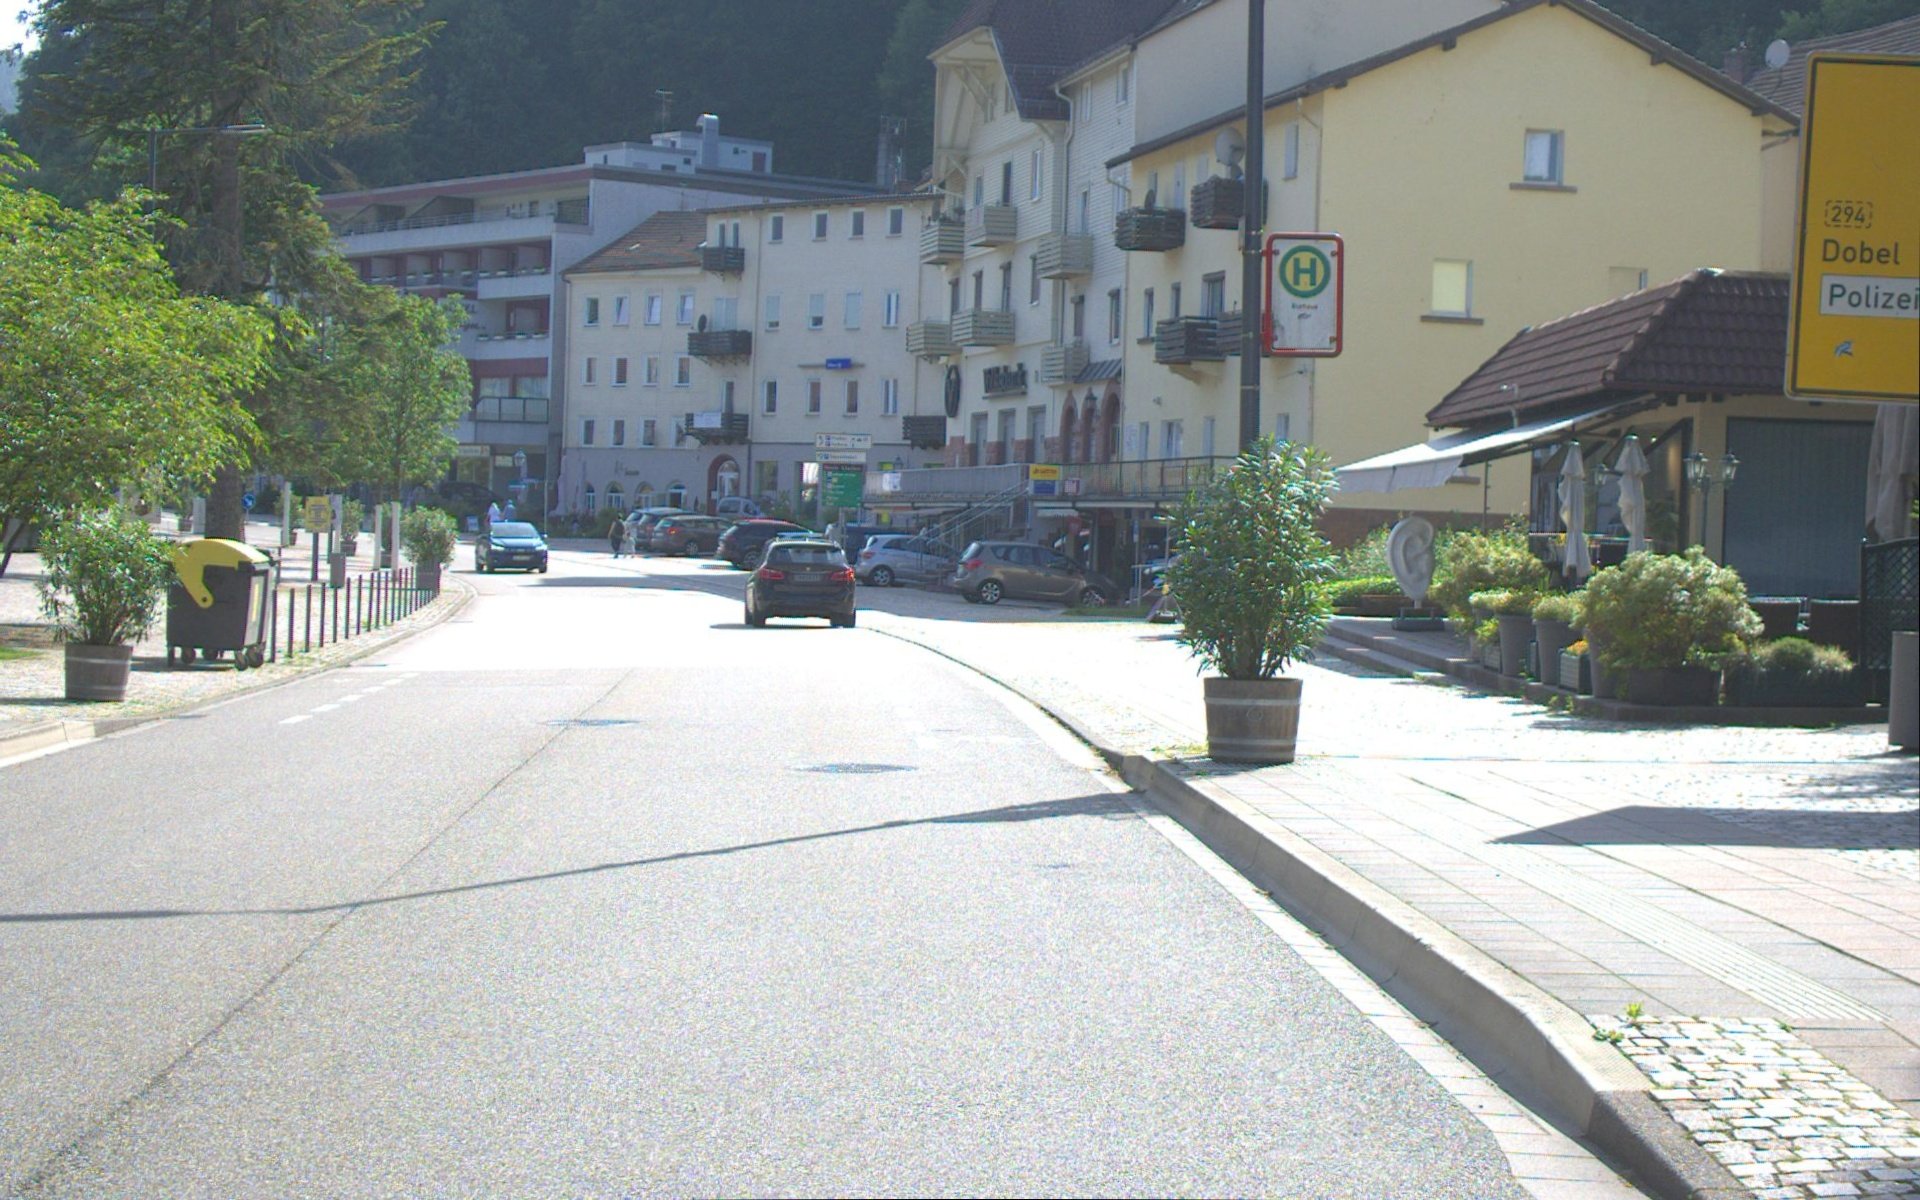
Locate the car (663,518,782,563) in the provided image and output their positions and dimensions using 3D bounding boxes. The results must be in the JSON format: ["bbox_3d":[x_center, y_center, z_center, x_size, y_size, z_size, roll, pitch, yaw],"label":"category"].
[{"bbox_3d":[-8.778,-2.219,127.053,4.009,1.511,1.773,-2,4,-31],"label":"car"}]

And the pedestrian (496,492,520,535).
[{"bbox_3d":[-18.745,-3.589,142.626,0.669,1.722,0.707,2,2,-33],"label":"pedestrian"}]

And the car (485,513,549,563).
[{"bbox_3d":[-13.121,-1.843,102.042,1.741,1.457,4.188,0,1,-5],"label":"car"}]

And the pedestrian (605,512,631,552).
[{"bbox_3d":[-12.400,-2.456,124.673,0.735,1.437,0.633,-1,3,-36],"label":"pedestrian"}]

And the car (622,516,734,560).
[{"bbox_3d":[-10.759,-2.378,131.114,3.861,1.544,1.773,-2,4,-31],"label":"car"}]

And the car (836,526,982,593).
[{"bbox_3d":[-1.496,-1.190,100.081,3.908,1.583,1.775,4,1,-11],"label":"car"}]

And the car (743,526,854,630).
[{"bbox_3d":[-2.880,-0.420,60.697,1.727,1.569,3.754,3,3,-5],"label":"car"}]

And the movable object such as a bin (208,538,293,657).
[{"bbox_3d":[-8.444,-0.041,40.947,0.755,1.337,1.295,4,1,-4],"label":"movable object such as a bin"}]

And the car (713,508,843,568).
[{"bbox_3d":[-6.174,-2.098,116.458,4.083,1.660,1.773,5,1,-11],"label":"car"}]

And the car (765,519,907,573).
[{"bbox_3d":[-4.026,-1.749,111.548,4.355,1.456,1.773,4,0,-9],"label":"car"}]

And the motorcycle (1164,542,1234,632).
[{"bbox_3d":[3.579,-0.207,51.693,0.697,1.292,2.213,-1,1,-5],"label":"motorcycle"}]

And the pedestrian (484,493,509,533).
[{"bbox_3d":[-19.066,-3.568,141.474,0.757,1.588,0.628,2,2,-33],"label":"pedestrian"}]

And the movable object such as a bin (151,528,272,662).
[{"bbox_3d":[-8.480,-0.069,38.993,1.078,1.422,1.377,4,1,-4],"label":"movable object such as a bin"}]

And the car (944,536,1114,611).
[{"bbox_3d":[1.723,-0.677,86.539,3.858,1.549,1.761,4,1,-13],"label":"car"}]

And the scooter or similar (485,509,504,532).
[{"bbox_3d":[-19.173,-3.275,141.611,0.596,0.947,0.474,2,2,-34],"label":"scooter or similar"}]
